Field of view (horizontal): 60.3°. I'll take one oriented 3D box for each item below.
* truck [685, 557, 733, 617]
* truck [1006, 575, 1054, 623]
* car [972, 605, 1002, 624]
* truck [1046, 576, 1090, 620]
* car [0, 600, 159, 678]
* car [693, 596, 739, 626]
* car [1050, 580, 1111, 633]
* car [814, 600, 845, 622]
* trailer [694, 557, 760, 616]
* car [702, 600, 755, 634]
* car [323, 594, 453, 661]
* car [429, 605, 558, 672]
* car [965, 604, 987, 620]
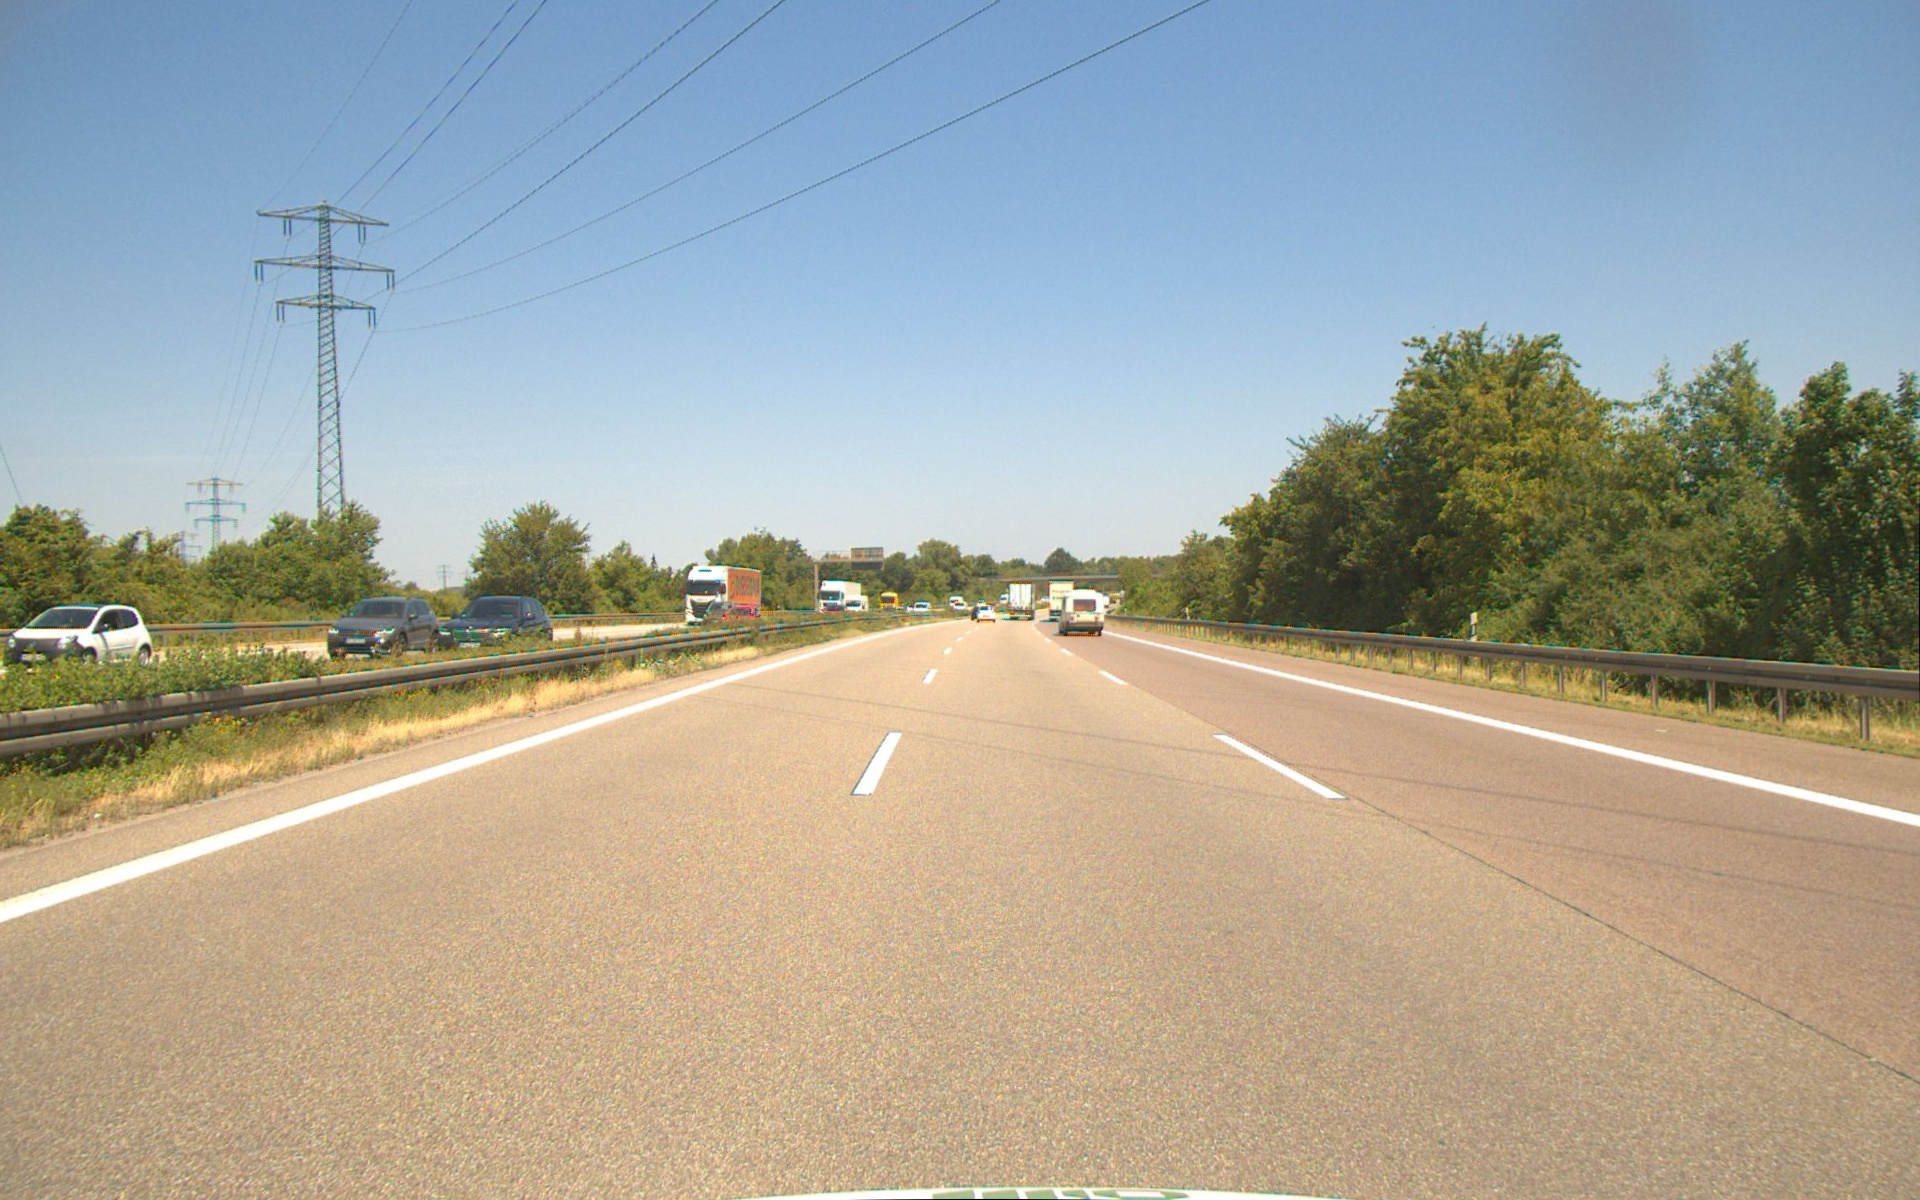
[{"bbox_3d":[-17.410,-0.930,114.817,2.430,4.089,4.603,0,1,2],"label":"truck"},{"bbox_3d":[8.019,-0.190,186.778,3.588,5.106,16.032,1,1,9],"label":"truck"},{"bbox_3d":[2.480,1.293,150.370,1.789,1.574,4.323,1,0,13],"label":"car"},{"bbox_3d":[11.611,-0.308,176.536,3.113,4.379,16.032,1,1,9],"label":"truck"},{"bbox_3d":[-18.977,0.781,35.382,1.631,1.559,4.279,0,0,0],"label":"car"},{"bbox_3d":[-14.234,0.646,96.728,1.953,1.702,4.929,0,0,0],"label":"car"},{"bbox_3d":[5.824,0.277,80.698,2.393,2.362,5.320,-1,1,-2],"label":"car"},{"bbox_3d":[-9.510,0.808,120.663,1.953,1.576,4.447,0,0,0],"label":"car"},{"bbox_3d":[-17.107,-1.061,122.342,2.454,4.113,13.591,0,1,2],"label":"trailer"},{"bbox_3d":[-10.627,0.757,76.176,1.865,1.506,3.960,0,0,0],"label":"car"},{"bbox_3d":[-15.263,0.697,44.365,1.953,1.646,4.411,0,1,0],"label":"car"},{"bbox_3d":[-11.470,0.917,40.985,1.953,1.460,4.411,0,1,0],"label":"car"},{"bbox_3d":[1.701,1.250,173.539,1.789,1.574,4.323,1,0,8],"label":"car"}]
